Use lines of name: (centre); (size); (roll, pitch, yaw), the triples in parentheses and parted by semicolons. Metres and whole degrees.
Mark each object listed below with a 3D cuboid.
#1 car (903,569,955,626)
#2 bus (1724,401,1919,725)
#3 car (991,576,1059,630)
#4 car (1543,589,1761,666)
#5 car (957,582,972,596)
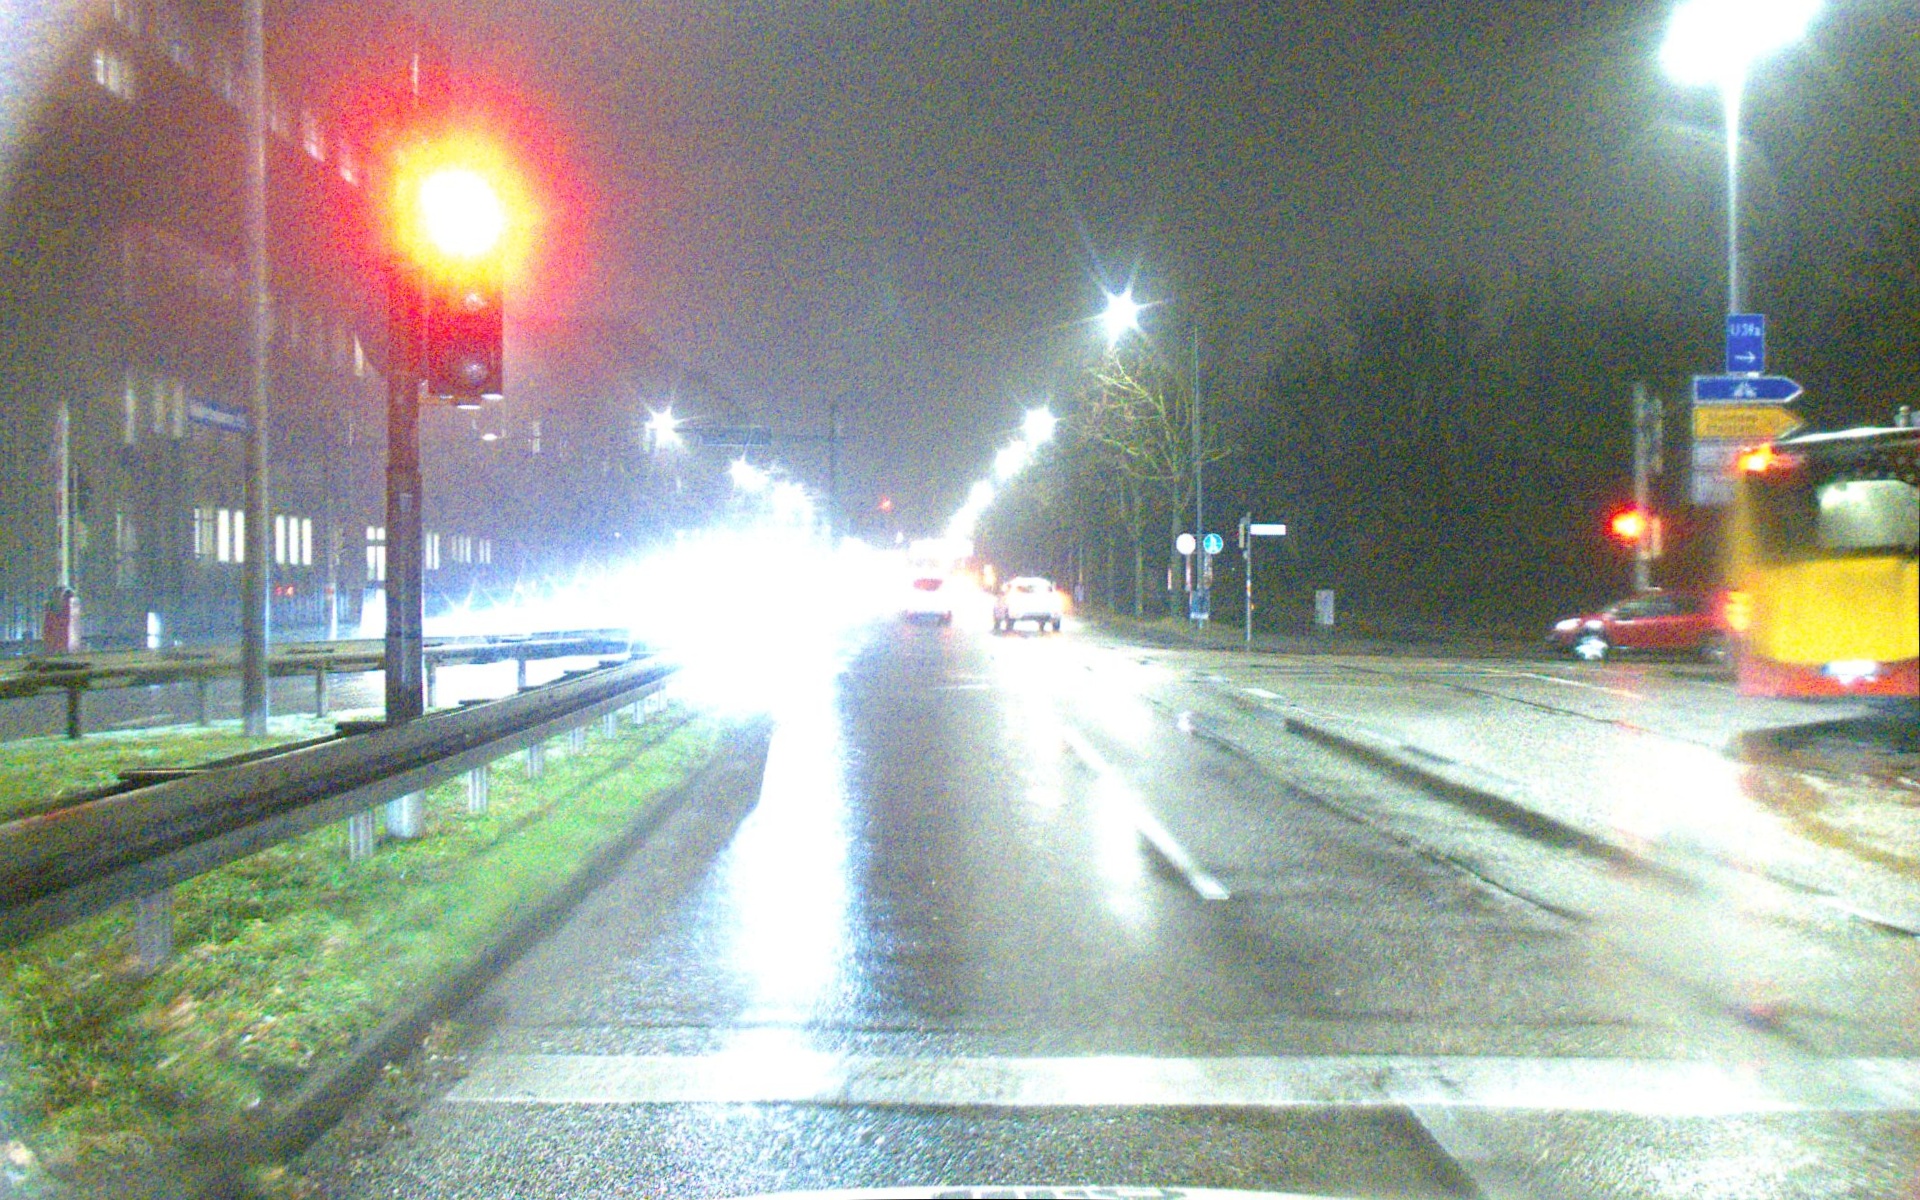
car: (-1.102, -0.082, 58.744); (1.754, 1.907, 4.625); (1, 0, -1)
bus: (12.946, -0.331, 19.548); (9.651, 3.178, 2.743); (1, 0, -36)
car: (2.122, 0.104, 54.850); (1.756, 1.708, 4.424); (1, 0, -4)
car: (14.690, 0.564, 35.323); (4.052, 1.513, 1.798); (1, 0, 15)
car: (0.593, -1.422, 220.773); (1.953, 1.790, 3.999); (1, 0, -1)
